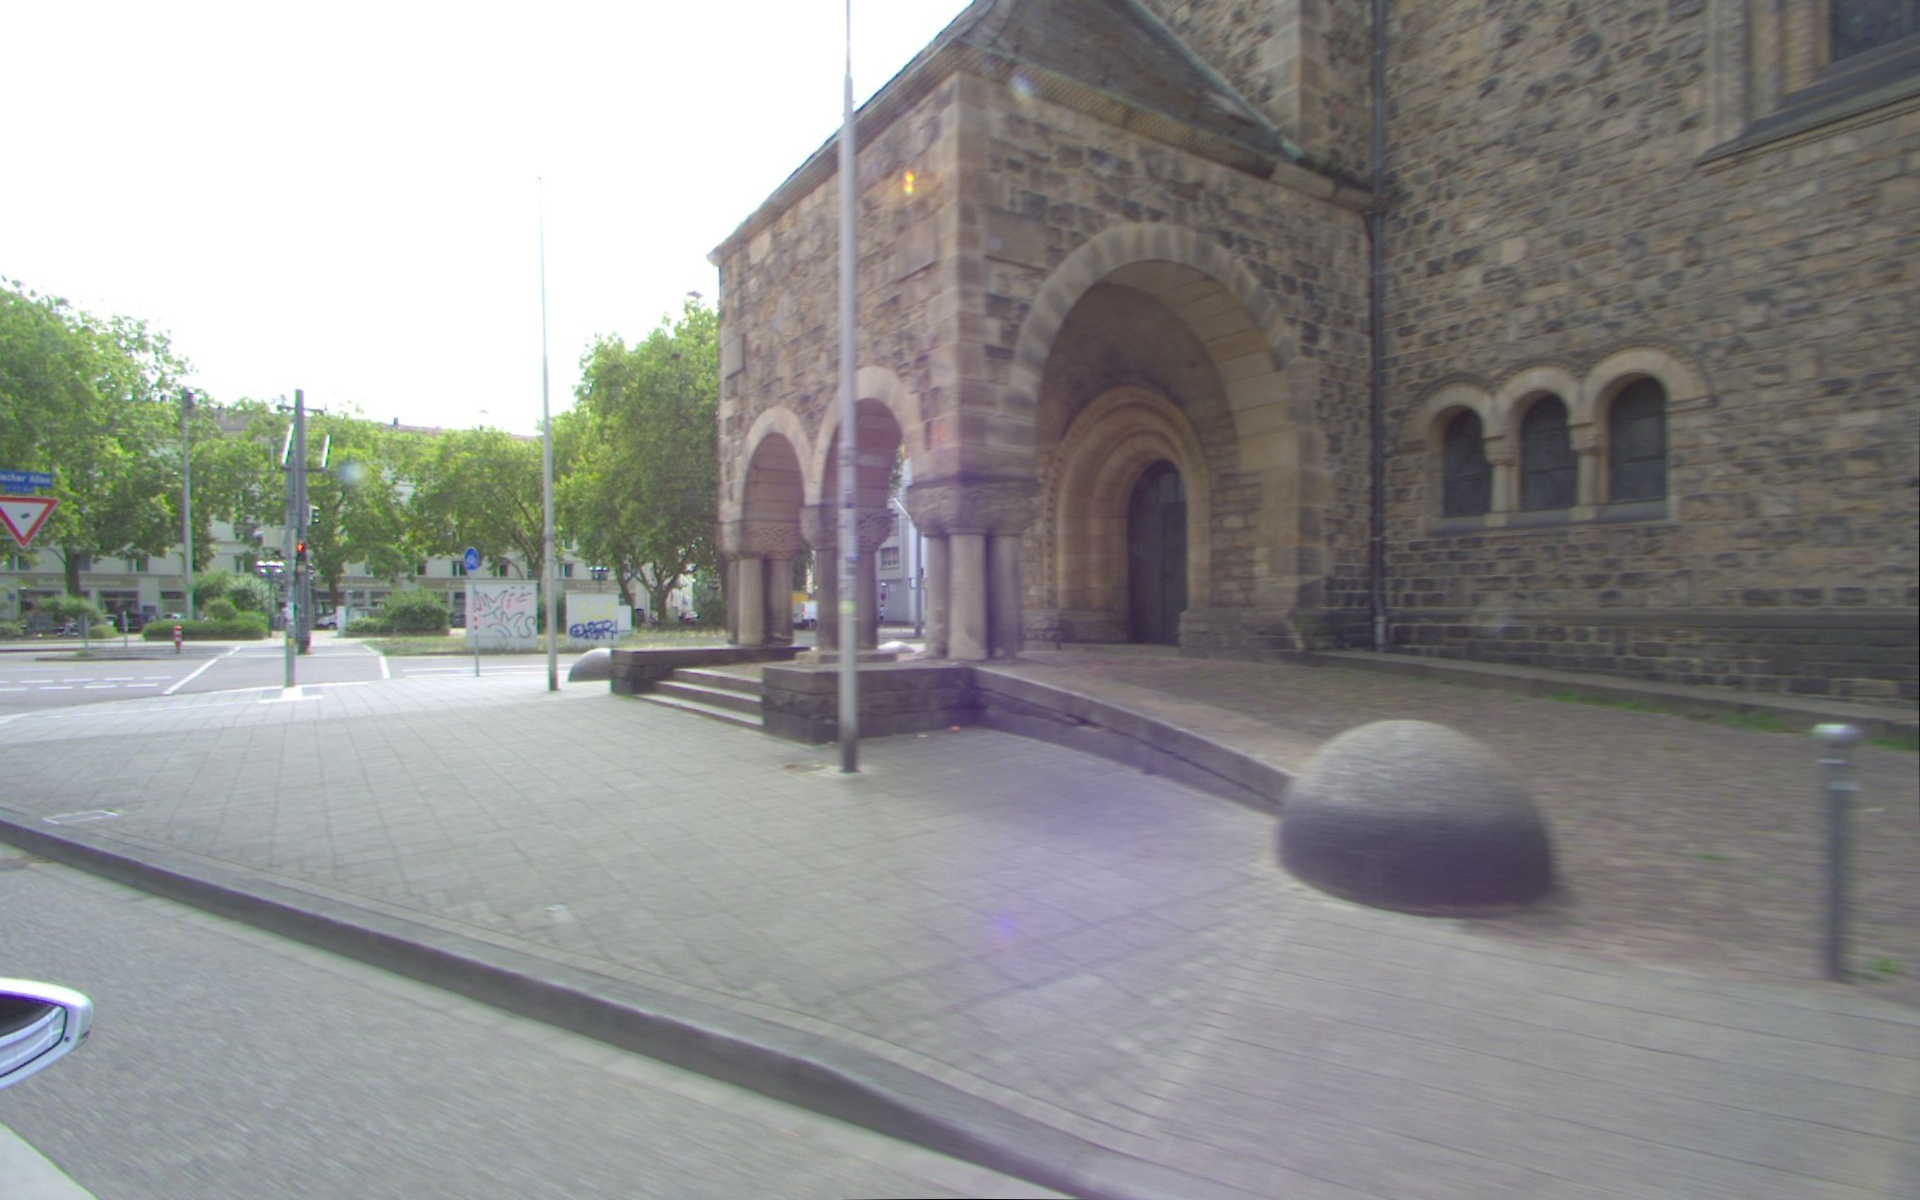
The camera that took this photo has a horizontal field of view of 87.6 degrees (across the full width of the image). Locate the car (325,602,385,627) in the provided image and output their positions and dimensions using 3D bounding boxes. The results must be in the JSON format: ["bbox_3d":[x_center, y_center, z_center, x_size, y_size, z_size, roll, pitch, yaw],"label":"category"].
[{"bbox_3d":[-47.672,1.129,78.907,3.947,1.908,1.845,0,0,-34],"label":"car"}]

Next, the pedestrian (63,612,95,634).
[{"bbox_3d":[-51.103,1.328,58.103,1.422,1.252,1.087,-1,1,37],"label":"pedestrian"}]

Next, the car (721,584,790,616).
[{"bbox_3d":[-17.295,0.046,84.698,5.270,2.618,2.165,0,-1,-36],"label":"car"}]

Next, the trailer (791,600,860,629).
[{"bbox_3d":[-9.315,0.978,69.355,4.377,1.951,1.842,0,0,-34],"label":"trailer"}]

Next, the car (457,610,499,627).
[{"bbox_3d":[-43.176,1.650,89.707,3.949,1.523,1.761,0,0,37],"label":"car"}]

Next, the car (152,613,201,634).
[{"bbox_3d":[-60.119,1.791,76.811,3.949,1.523,1.986,0,0,37],"label":"car"}]

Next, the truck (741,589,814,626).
[{"bbox_3d":[-13.800,0.556,75.442,3.040,2.612,6.468,0,0,-34],"label":"truck"}]

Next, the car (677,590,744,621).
[{"bbox_3d":[-22.414,0.495,90.076,5.270,2.618,2.482,0,-1,-36],"label":"car"}]

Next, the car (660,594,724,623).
[{"bbox_3d":[-25.232,0.771,94.330,5.270,2.618,2.482,0,-1,-36],"label":"car"}]

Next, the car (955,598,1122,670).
[{"bbox_3d":[1.785,0.764,23.954,1.992,1.563,4.002,0,0,-33],"label":"car"}]
